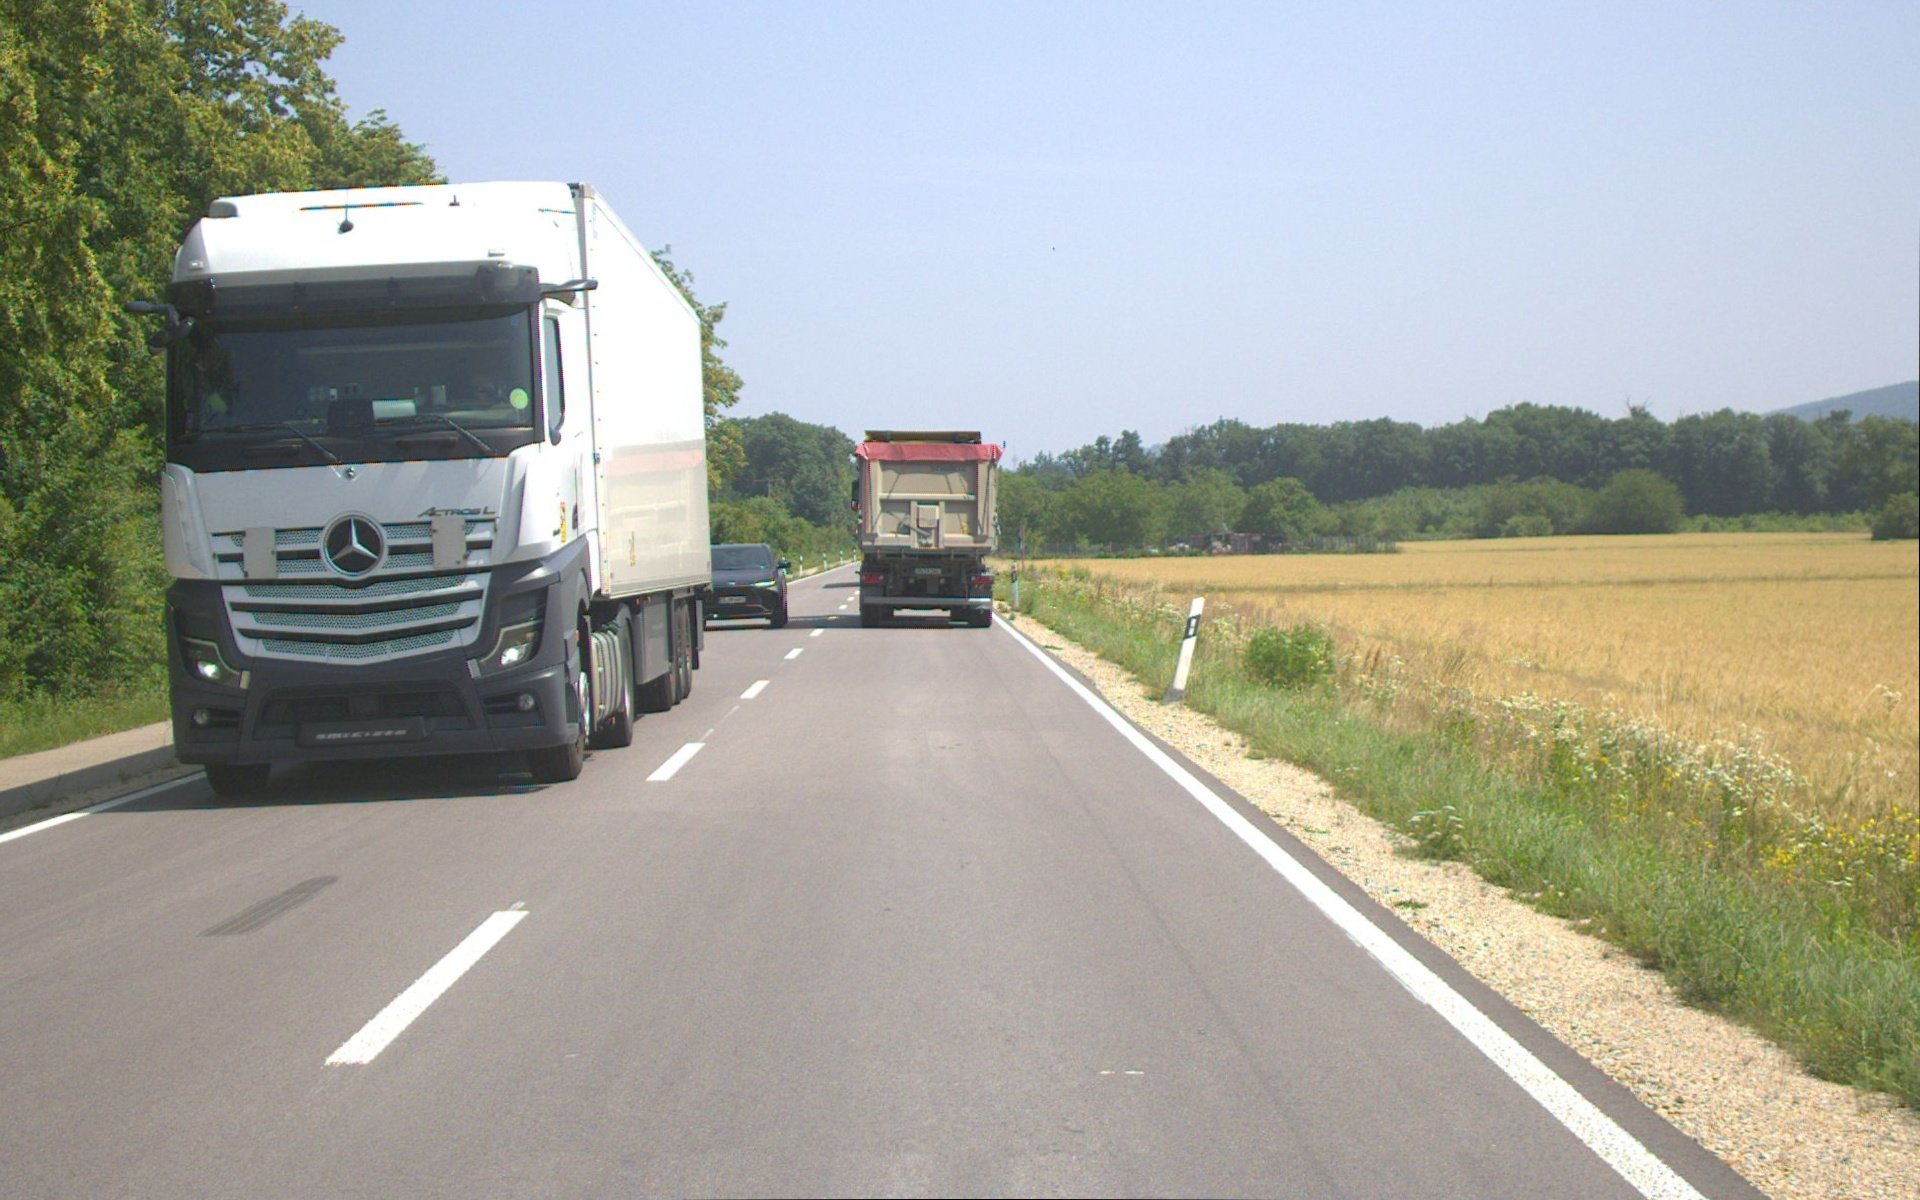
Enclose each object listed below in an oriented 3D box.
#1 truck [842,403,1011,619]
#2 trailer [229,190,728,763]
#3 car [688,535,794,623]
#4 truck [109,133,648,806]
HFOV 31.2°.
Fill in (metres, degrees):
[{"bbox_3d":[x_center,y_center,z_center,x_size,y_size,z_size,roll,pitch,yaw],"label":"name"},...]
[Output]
[{"bbox_3d":[-0.675,-1.675,68.516,3.009,3.861,12.210,1,1,-1],"label":"truck"},{"bbox_3d":[-3.858,-1.001,31.027,2.653,3.963,13.355,-2,1,-1],"label":"trailer"},{"bbox_3d":[-4.166,-0.426,65.916,1.792,1.568,4.479,-2,1,-1],"label":"car"},{"bbox_3d":[-3.760,-0.840,23.586,2.656,3.963,5.728,-2,1,-1],"label":"truck"}]
